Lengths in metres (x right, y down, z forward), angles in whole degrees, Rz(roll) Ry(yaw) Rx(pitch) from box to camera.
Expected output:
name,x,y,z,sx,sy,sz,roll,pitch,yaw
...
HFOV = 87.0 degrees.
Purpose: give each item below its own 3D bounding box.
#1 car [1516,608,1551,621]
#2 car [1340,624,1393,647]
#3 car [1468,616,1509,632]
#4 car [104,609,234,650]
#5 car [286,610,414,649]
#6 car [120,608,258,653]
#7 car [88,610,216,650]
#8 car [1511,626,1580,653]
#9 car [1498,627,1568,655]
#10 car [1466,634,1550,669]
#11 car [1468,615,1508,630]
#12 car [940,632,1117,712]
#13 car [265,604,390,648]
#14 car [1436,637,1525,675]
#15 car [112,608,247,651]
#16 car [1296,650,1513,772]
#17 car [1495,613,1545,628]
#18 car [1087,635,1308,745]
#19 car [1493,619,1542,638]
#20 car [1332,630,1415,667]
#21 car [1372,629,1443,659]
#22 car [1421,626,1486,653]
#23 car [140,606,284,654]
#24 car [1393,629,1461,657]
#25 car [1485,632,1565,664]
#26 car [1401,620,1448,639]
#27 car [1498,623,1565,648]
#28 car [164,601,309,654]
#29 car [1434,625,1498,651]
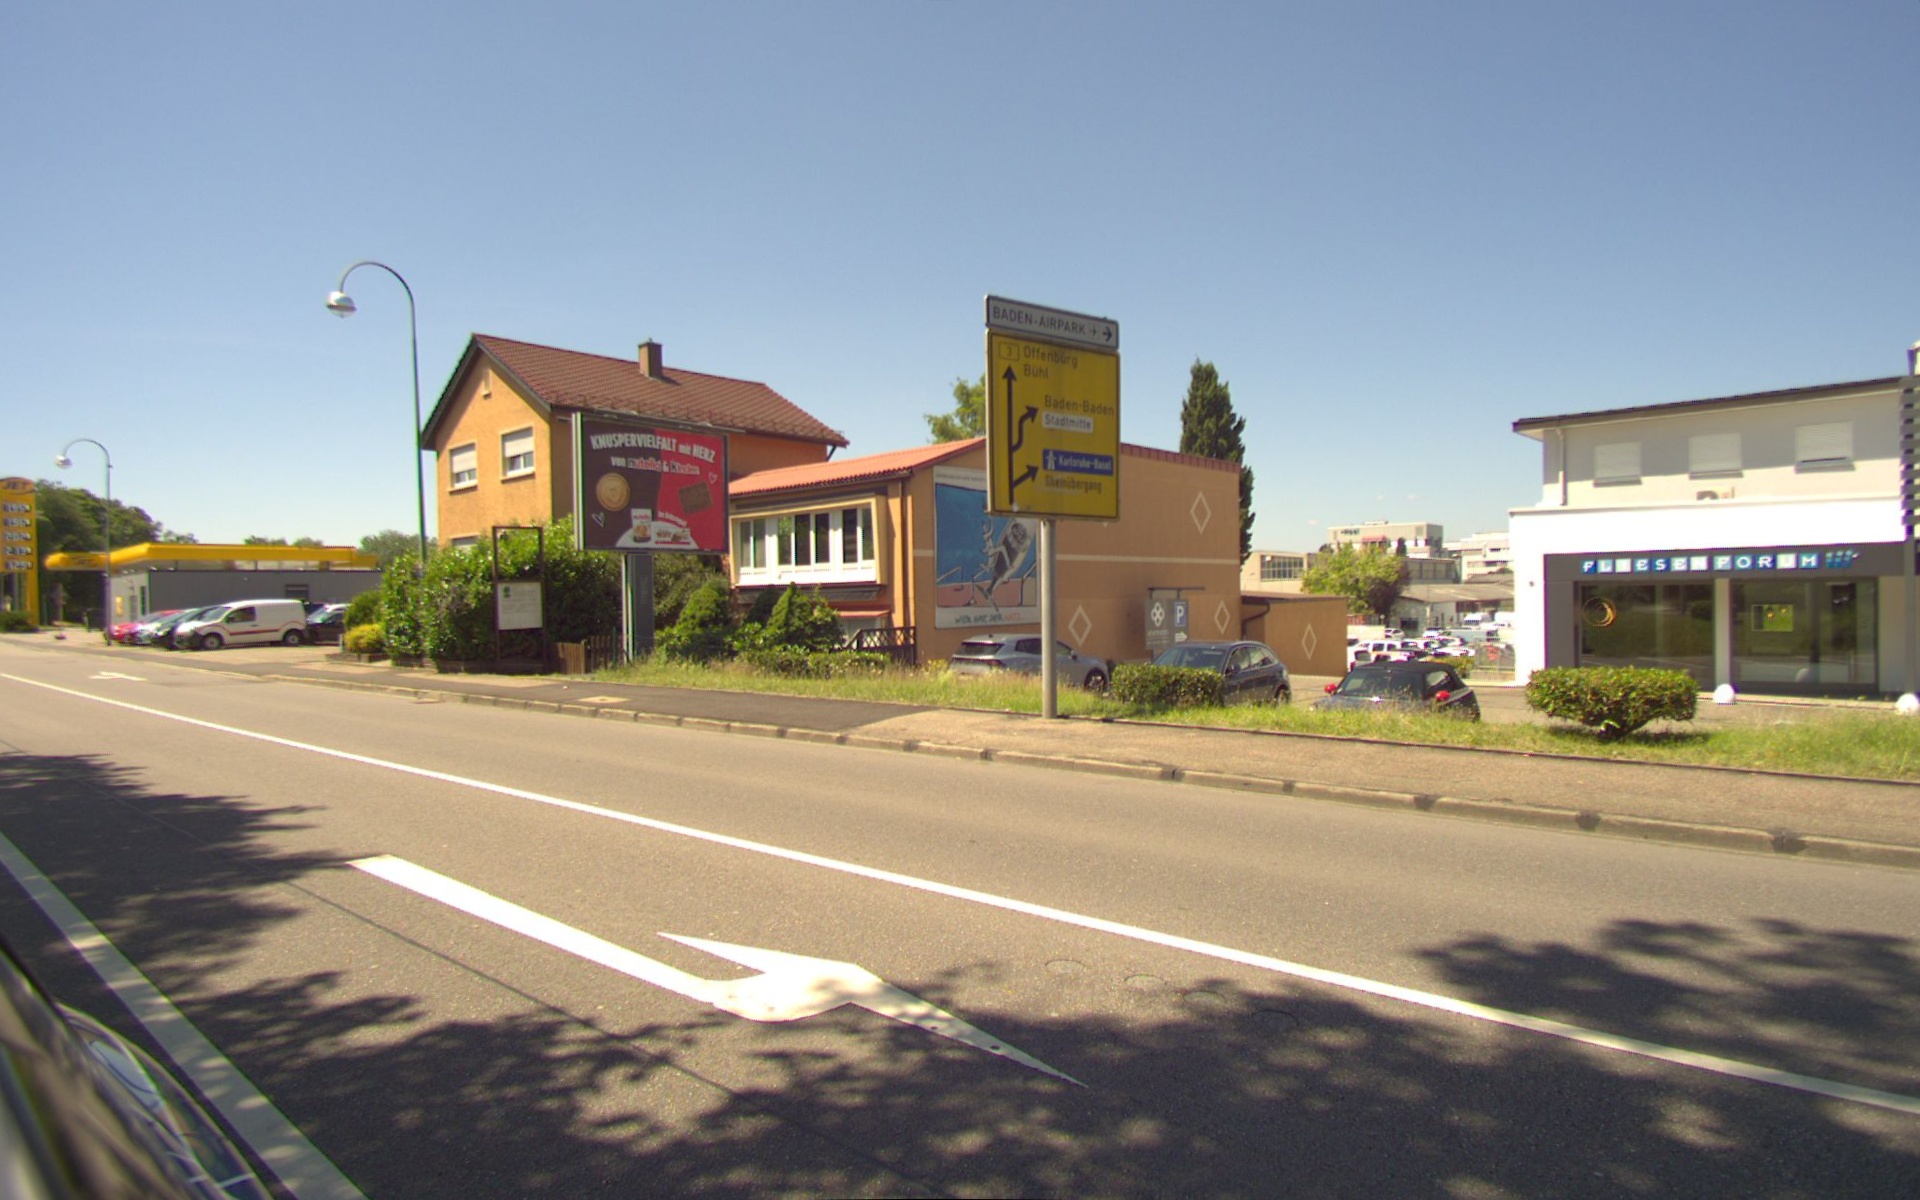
name,x,y,z,sx,sy,sz,roll,pitch,yaw
car,77.031,1.970,135.991,3.774,1.768,1.707,-1,-1,44
car,33.981,2.945,84.578,3.774,1.768,1.707,-1,-1,44
car,58.752,2.676,112.507,3.774,1.768,1.707,-1,0,44
car,-35.852,1.289,45.971,1.871,1.773,4.351,-1,-1,35
car,-26.112,1.245,43.458,1.871,1.575,4.351,-1,-1,35
car,-32.653,1.246,42.973,1.871,1.773,4.351,-1,-1,35
car,-37.892,1.384,47.548,1.871,1.773,4.351,-1,-1,35
car,40.126,2.682,69.394,3.774,1.768,1.707,-1,-1,44
car,38.091,2.706,67.296,3.774,1.768,1.707,-1,-1,44
car,30.359,2.816,56.114,3.774,1.768,1.707,-1,-1,44
car,61.526,2.632,117.884,3.774,1.768,1.707,-1,-1,44
car,1.678,1.606,23.749,4.165,1.621,1.773,0,-1,-42
car,-27.918,1.111,44.796,1.871,1.839,4.351,-1,-1,35
car,26.915,2.862,52.401,3.774,1.768,1.707,-1,-1,44
car,-34.243,1.267,44.516,1.871,1.773,4.351,-1,-1,35
car,7.198,1.658,16.211,4.039,1.544,1.772,0,-1,-44
car,71.725,2.633,129.646,5.303,1.768,2.037,-1,-1,44
car,4.430,1.525,18.449,4.462,1.654,1.772,0,-1,-44
car,53.074,2.689,96.332,3.774,1.768,1.707,-1,-1,44
car,24.050,2.769,58.902,4.001,2.029,1.971,-1,-1,44
car,28.300,2.771,64.047,3.774,1.768,1.707,-1,-1,44
car,34.472,2.753,70.745,3.774,1.768,1.707,-1,-1,44
car,-29.345,1.140,39.813,1.871,1.773,4.198,-1,-1,35
car,31.110,2.834,67.430,3.774,1.768,1.707,-1,-1,44
car,33.048,2.778,59.274,3.774,1.768,1.707,-1,-1,44
car,44.713,2.825,97.521,3.774,1.768,1.707,-1,0,44
car,42.655,2.644,75.613,4.055,1.768,1.707,-1,-1,44
car,-27.579,1.018,38.679,1.871,1.883,4.143,-1,-1,35
car,36.461,2.730,72.958,3.774,1.768,1.707,-1,-1,44
